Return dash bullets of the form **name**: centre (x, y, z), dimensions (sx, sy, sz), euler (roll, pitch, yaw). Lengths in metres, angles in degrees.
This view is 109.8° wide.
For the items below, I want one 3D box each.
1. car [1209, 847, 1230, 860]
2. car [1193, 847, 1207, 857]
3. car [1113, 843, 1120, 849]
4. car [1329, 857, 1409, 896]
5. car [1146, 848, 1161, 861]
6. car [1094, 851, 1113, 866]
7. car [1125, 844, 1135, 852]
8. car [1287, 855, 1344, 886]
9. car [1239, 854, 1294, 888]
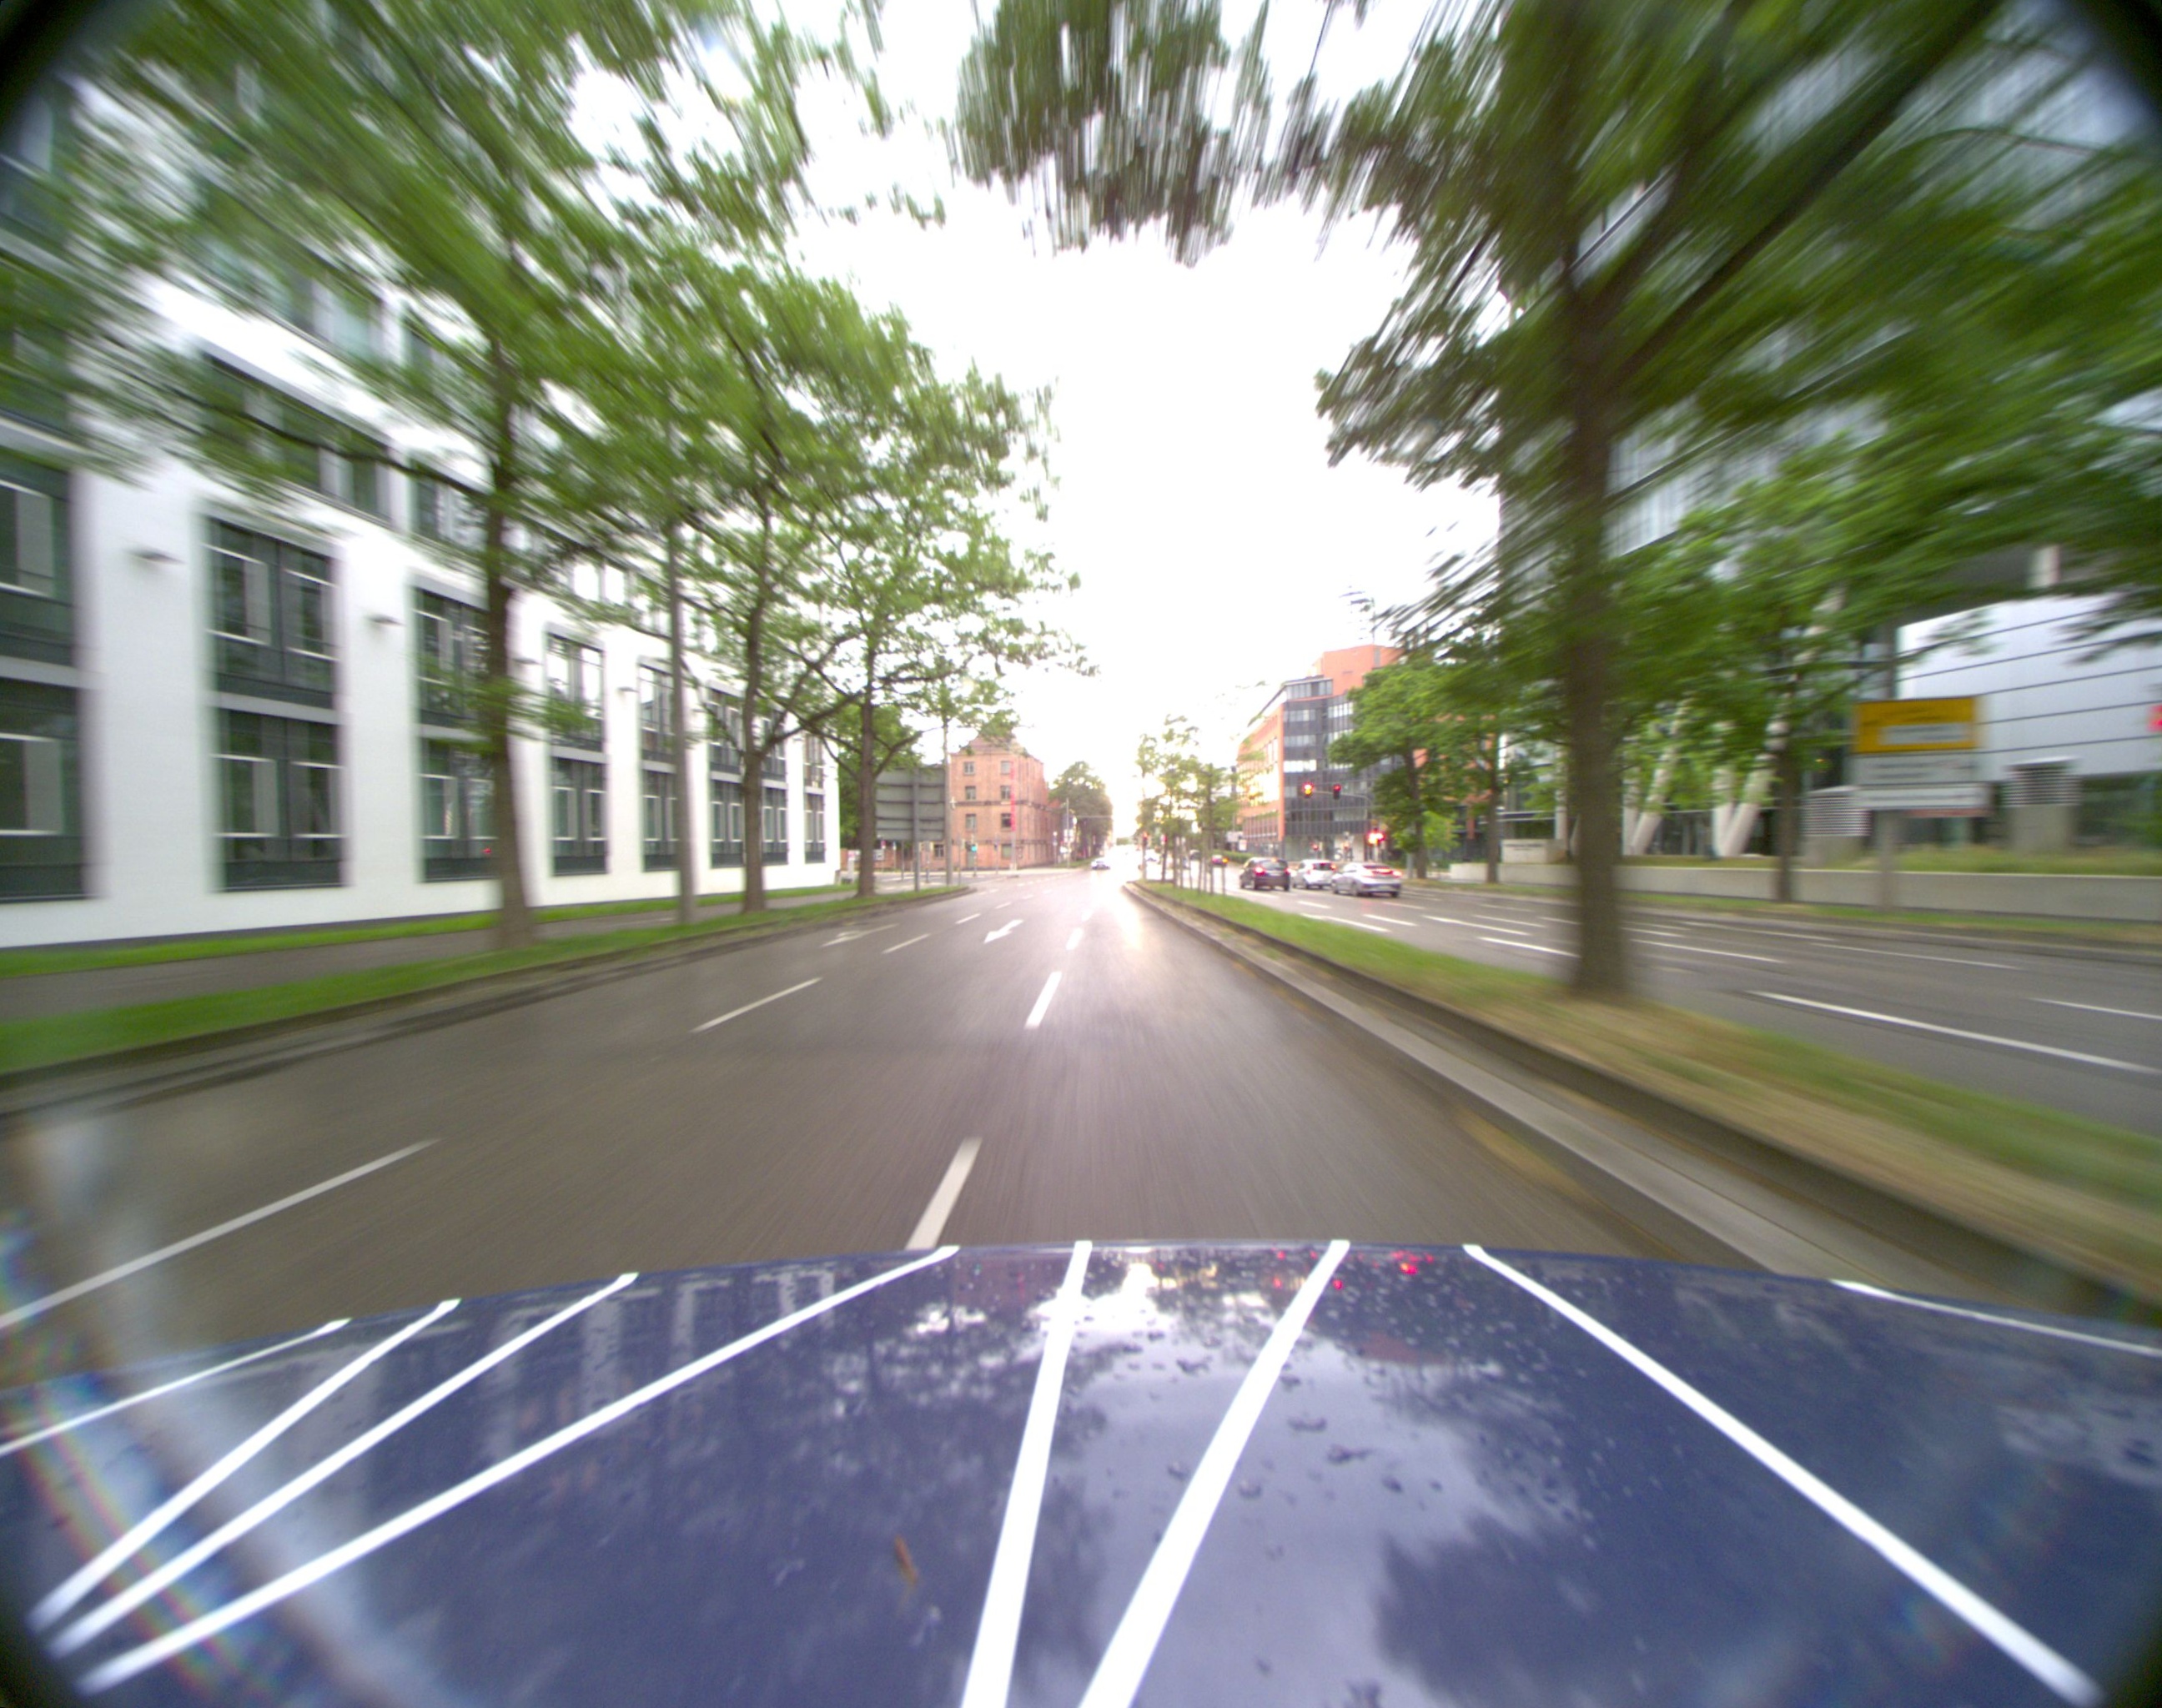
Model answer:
- **car**: centre (16.988, -0.059, 93.237), dimensions (1.783, 1.444, 4.000), euler (-3, 1, 1)
- **car**: centre (19.425, -0.313, 124.086), dimensions (1.782, 1.444, 4.001), euler (-3, 1, 5)
- **car**: centre (9.699, -2.119, 206.642), dimensions (1.998, 1.576, 4.000), euler (1, 1, 4)
- **car**: centre (12.256, 0.911, 32.597), dimensions (1.894, 1.444, 4.000), euler (-3, 1, 1)
- **car**: centre (10.906, 0.072, 114.903), dimensions (1.998, 2.002, 4.000), euler (0, 0, 1)
- **car**: centre (2.430, 0.453, 81.092), dimensions (1.877, 1.346, 4.332), euler (-3, 1, 3)
- **car**: centre (11.095, -1.380, 172.638), dimensions (1.998, 1.674, 4.000), euler (0, 0, 1)
- **car**: centre (12.454, 0.849, 40.580), dimensions (1.783, 1.444, 4.000), euler (-3, 1, 1)
- **car**: centre (9.395, 0.817, 38.747), dimensions (1.846, 1.581, 4.173), euler (0, 1, 1)
